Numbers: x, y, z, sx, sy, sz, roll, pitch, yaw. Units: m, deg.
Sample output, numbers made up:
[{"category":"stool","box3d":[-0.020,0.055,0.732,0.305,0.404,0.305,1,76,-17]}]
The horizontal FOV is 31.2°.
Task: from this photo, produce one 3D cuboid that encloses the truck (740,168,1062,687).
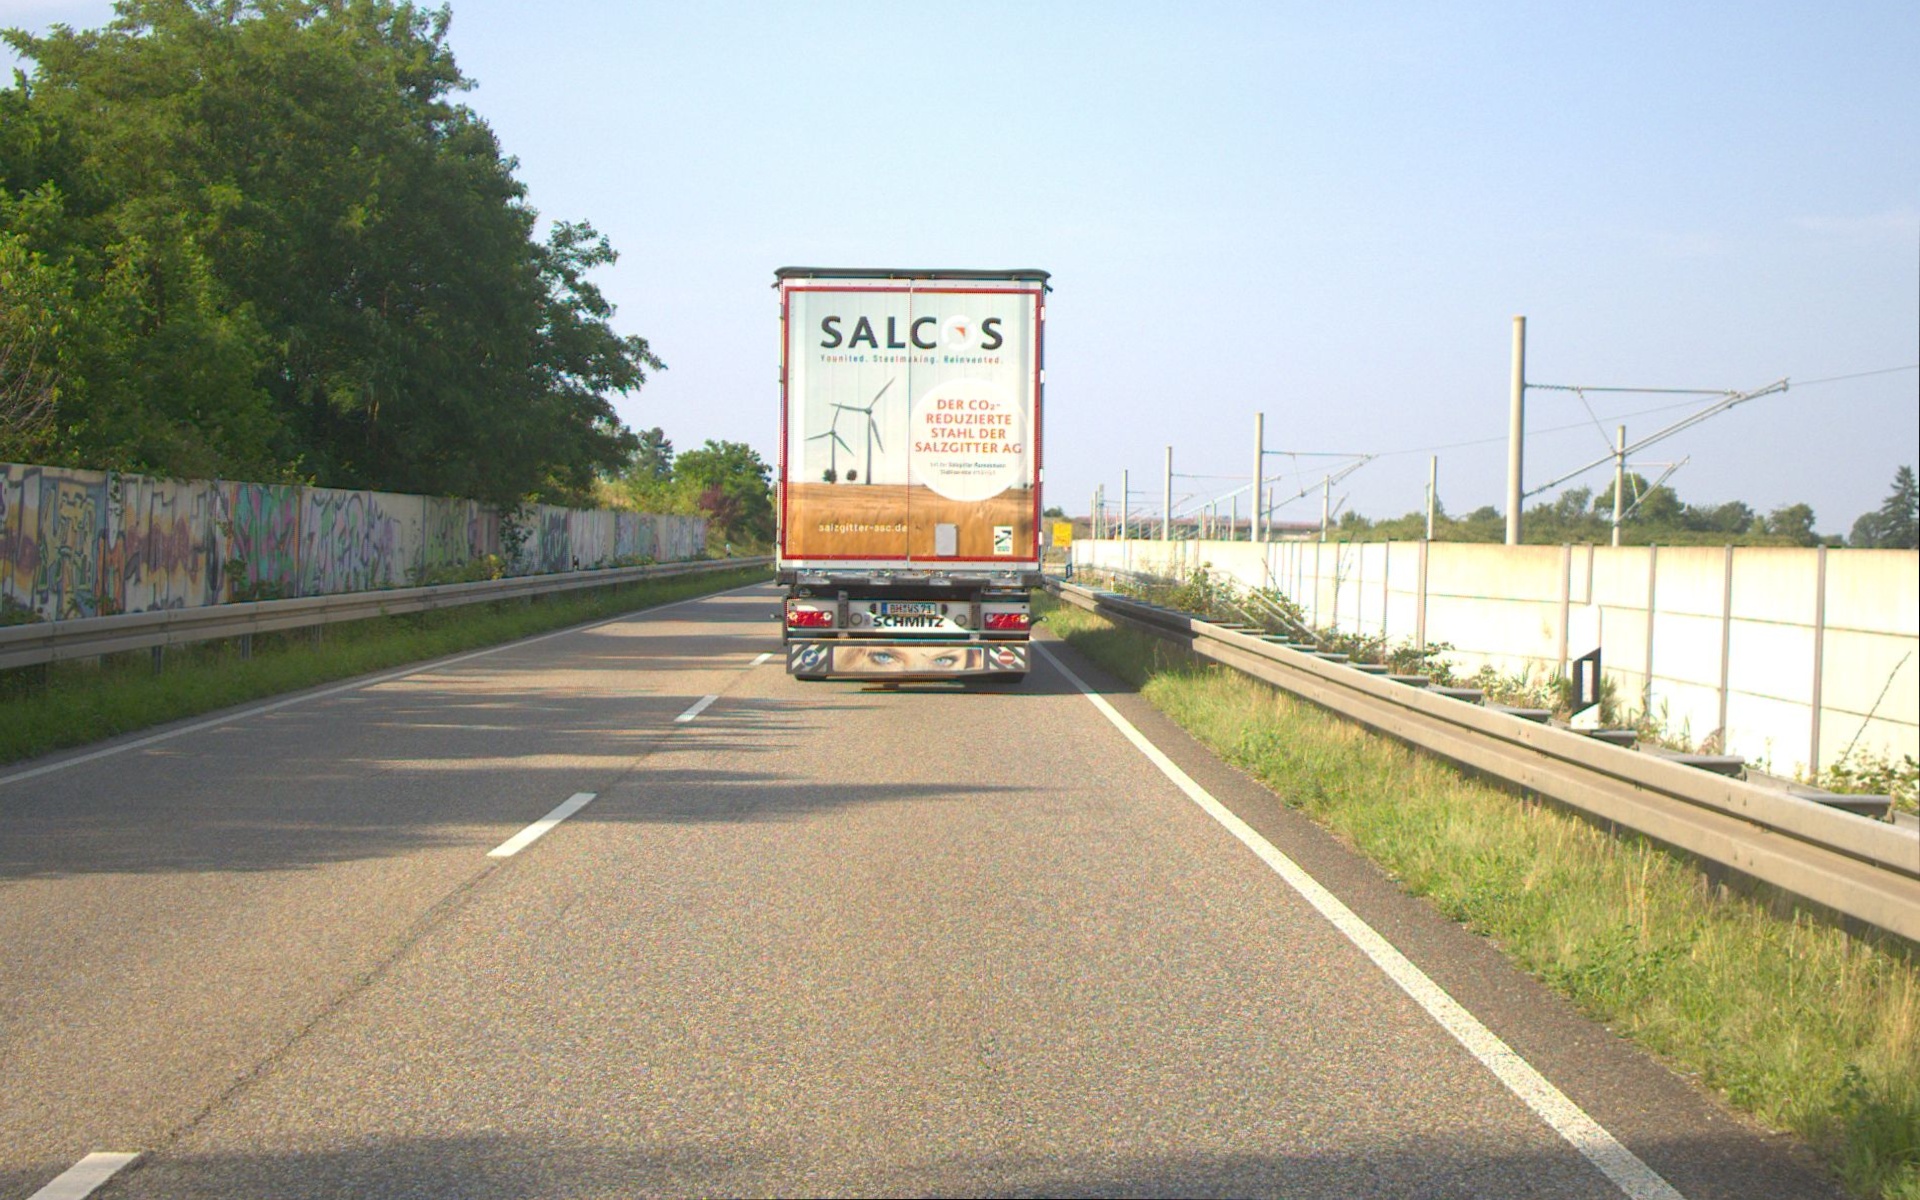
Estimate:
[{"category":"truck","box3d":[-0.761,-1.779,38.531,3.033,4.903,11.686,0,1,-2]}]
